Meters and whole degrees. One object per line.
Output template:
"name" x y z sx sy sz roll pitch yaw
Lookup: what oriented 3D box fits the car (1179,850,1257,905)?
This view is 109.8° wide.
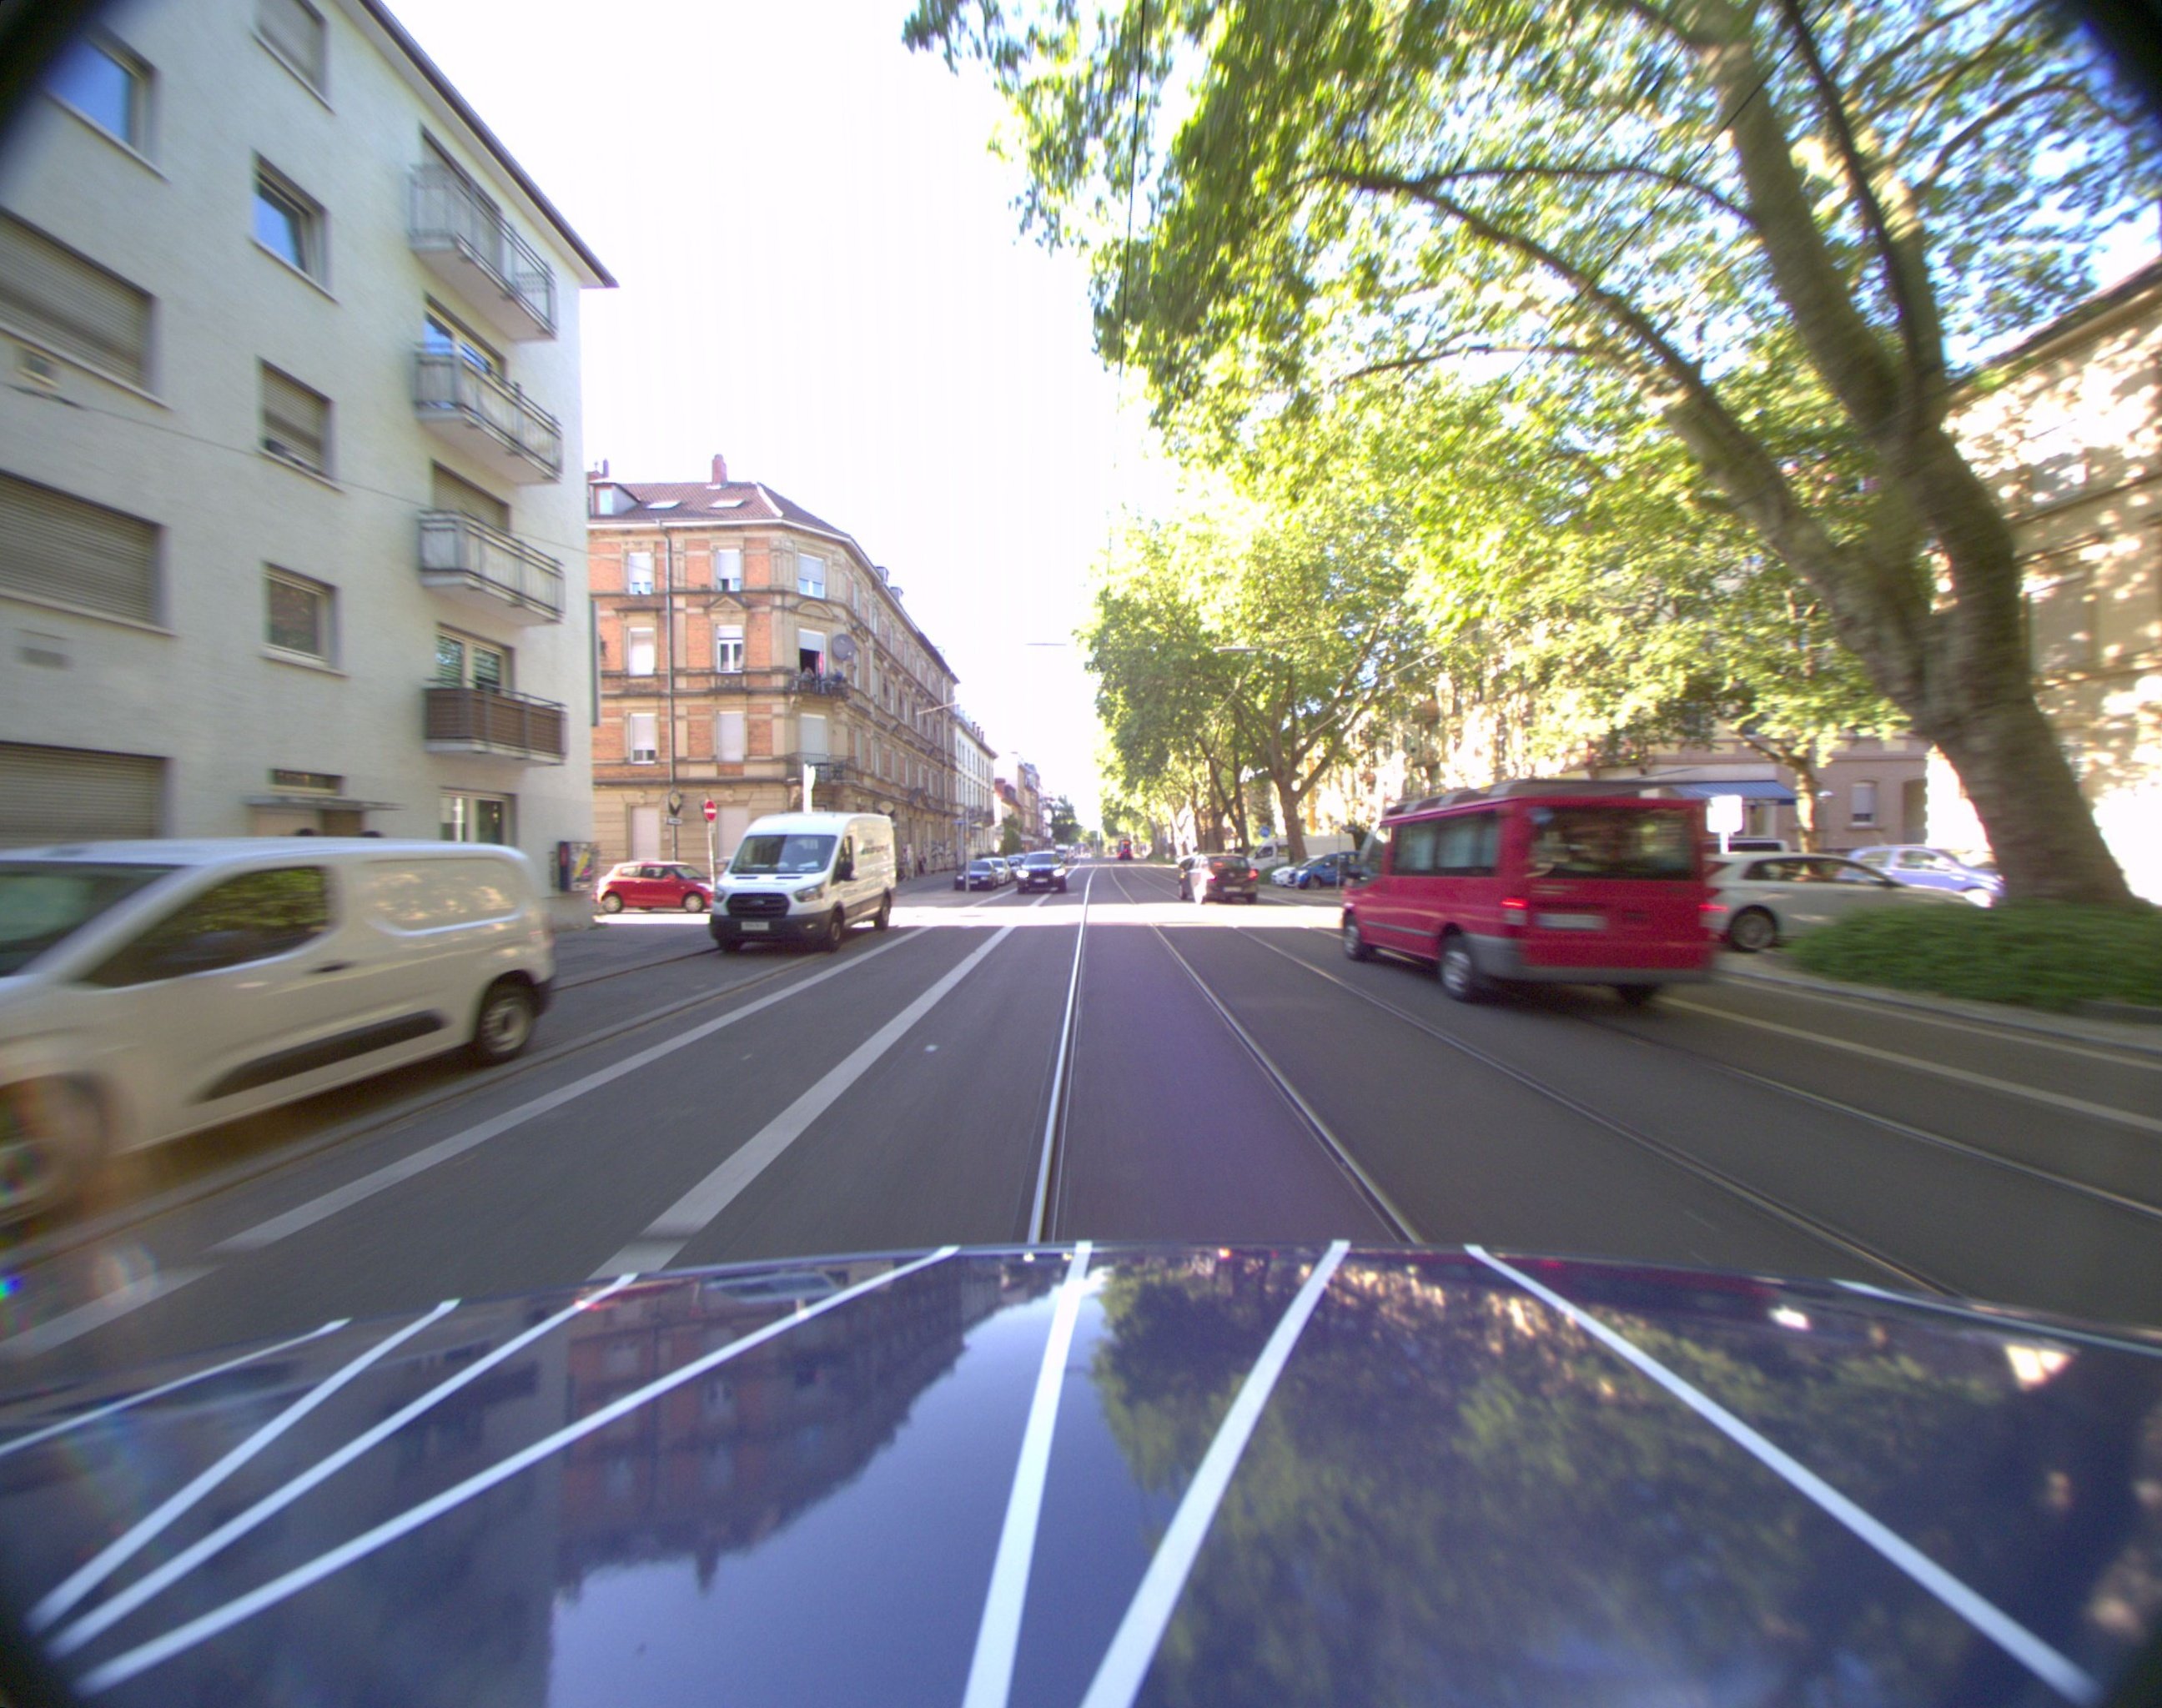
"car" 4.090 0.653 23.199 1.722 1.501 3.722 -1 1 0

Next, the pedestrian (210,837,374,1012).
"pedestrian" -8.681 0.726 8.419 0.626 1.812 1.082 1 2 3

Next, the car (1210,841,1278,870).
"car" 12.302 0.108 57.499 4.639 1.896 1.922 -3 0 0

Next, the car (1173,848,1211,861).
"car" 12.465 0.007 85.213 3.998 1.367 1.411 -1 1 -2

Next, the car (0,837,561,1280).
"car" -5.525 0.856 4.489 1.863 1.810 4.349 3 2 0

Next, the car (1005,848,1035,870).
"car" -4.212 0.334 53.287 1.610 1.444 3.741 1 1 3

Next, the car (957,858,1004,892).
"car" -4.675 0.942 35.805 1.653 1.412 4.059 1 1 -1

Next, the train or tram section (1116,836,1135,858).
"train or tram section" 7.696 -1.282 132.320 2.944 3.598 11.062 -3 1 2

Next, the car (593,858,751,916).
"car" -11.978 0.954 22.427 3.659 1.565 1.790 -1 1 1

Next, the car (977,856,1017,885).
"car" -4.538 0.851 41.362 1.606 1.412 4.013 1 1 1

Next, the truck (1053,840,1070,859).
"truck" -3.508 -0.884 138.613 2.842 3.145 7.291 -3 1 1

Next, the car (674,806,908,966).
"car" -5.247 0.463 14.986 2.154 2.481 6.087 -1 1 1

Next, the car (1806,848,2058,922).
"car" 18.558 0.608 16.823 1.603 1.452 3.488 -1 1 -2

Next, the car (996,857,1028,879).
"car" -4.315 0.845 48.061 1.653 1.265 3.724 1 1 1

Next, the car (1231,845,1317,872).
"car" 12.162 0.273 48.114 4.943 1.437 2.000 -3 0 2

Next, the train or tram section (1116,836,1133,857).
"train or tram section" 8.165 -1.510 143.459 2.944 3.598 11.258 -3 1 2

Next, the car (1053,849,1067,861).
"car" -2.890 0.169 104.454 1.702 1.559 3.686 1 1 2

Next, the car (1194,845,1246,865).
"car" 12.646 0.067 69.410 4.365 1.603 2.000 -3 0 2

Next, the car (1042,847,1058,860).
"car" -3.754 -0.049 93.083 1.702 1.559 3.686 1 1 2

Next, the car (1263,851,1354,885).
"car" 10.723 0.653 36.035 3.779 1.509 1.747 -1 1 -2

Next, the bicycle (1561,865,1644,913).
"bicycle" 12.200 0.801 17.800 1.560 1.082 0.397 0 1 19

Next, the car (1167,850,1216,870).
"car" 10.391 0.549 71.827 4.365 1.603 2.000 -3 0 2

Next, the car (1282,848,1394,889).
"car" 11.275 0.634 33.478 4.331 1.702 1.816 -1 1 -2

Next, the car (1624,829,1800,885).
"car" 23.048 0.077 27.934 4.582 1.870 2.128 -1 3 4

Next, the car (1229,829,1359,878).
"car" 11.870 0.001 42.634 6.618 2.393 2.000 -3 0 1

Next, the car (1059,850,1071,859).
"car" -2.621 0.105 122.524 1.702 1.324 3.686 1 1 2

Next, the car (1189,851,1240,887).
"car" 5.988 0.636 34.439 1.639 1.501 3.691 -1 1 0

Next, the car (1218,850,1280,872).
"car" 12.119 0.508 55.068 4.068 1.437 1.869 -3 0 2

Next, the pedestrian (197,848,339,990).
"pedestrian" -9.792 0.744 9.190 0.633 1.572 0.933 5 2 3

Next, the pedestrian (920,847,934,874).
"pedestrian" -9.768 0.394 48.156 0.716 1.647 0.766 -1 1 0

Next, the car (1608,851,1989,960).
"car" 10.639 0.715 11.515 3.997 1.452 1.879 -1 1 0

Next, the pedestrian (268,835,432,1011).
"pedestrian" -8.009 0.700 8.388 0.711 1.812 1.082 1 2 3

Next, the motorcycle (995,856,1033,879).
"motorcycle" -3.959 0.780 45.151 2.143 1.282 0.642 -1 1 -21

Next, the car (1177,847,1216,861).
"car" 12.579 0.020 82.773 3.998 1.422 1.601 -1 1 -2

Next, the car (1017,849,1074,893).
"car" -1.432 0.702 32.570 1.948 1.694 4.631 -2 -1 3

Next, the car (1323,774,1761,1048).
"car" 4.595 0.457 8.754 1.922 2.214 4.959 2 1 -1

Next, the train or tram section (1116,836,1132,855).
"train or tram section" 8.665 -1.707 155.283 2.944 3.598 12.410 -3 1 2

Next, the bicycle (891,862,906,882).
"bicycle" -9.576 0.921 39.921 0.379 0.995 1.372 -1 1 3
